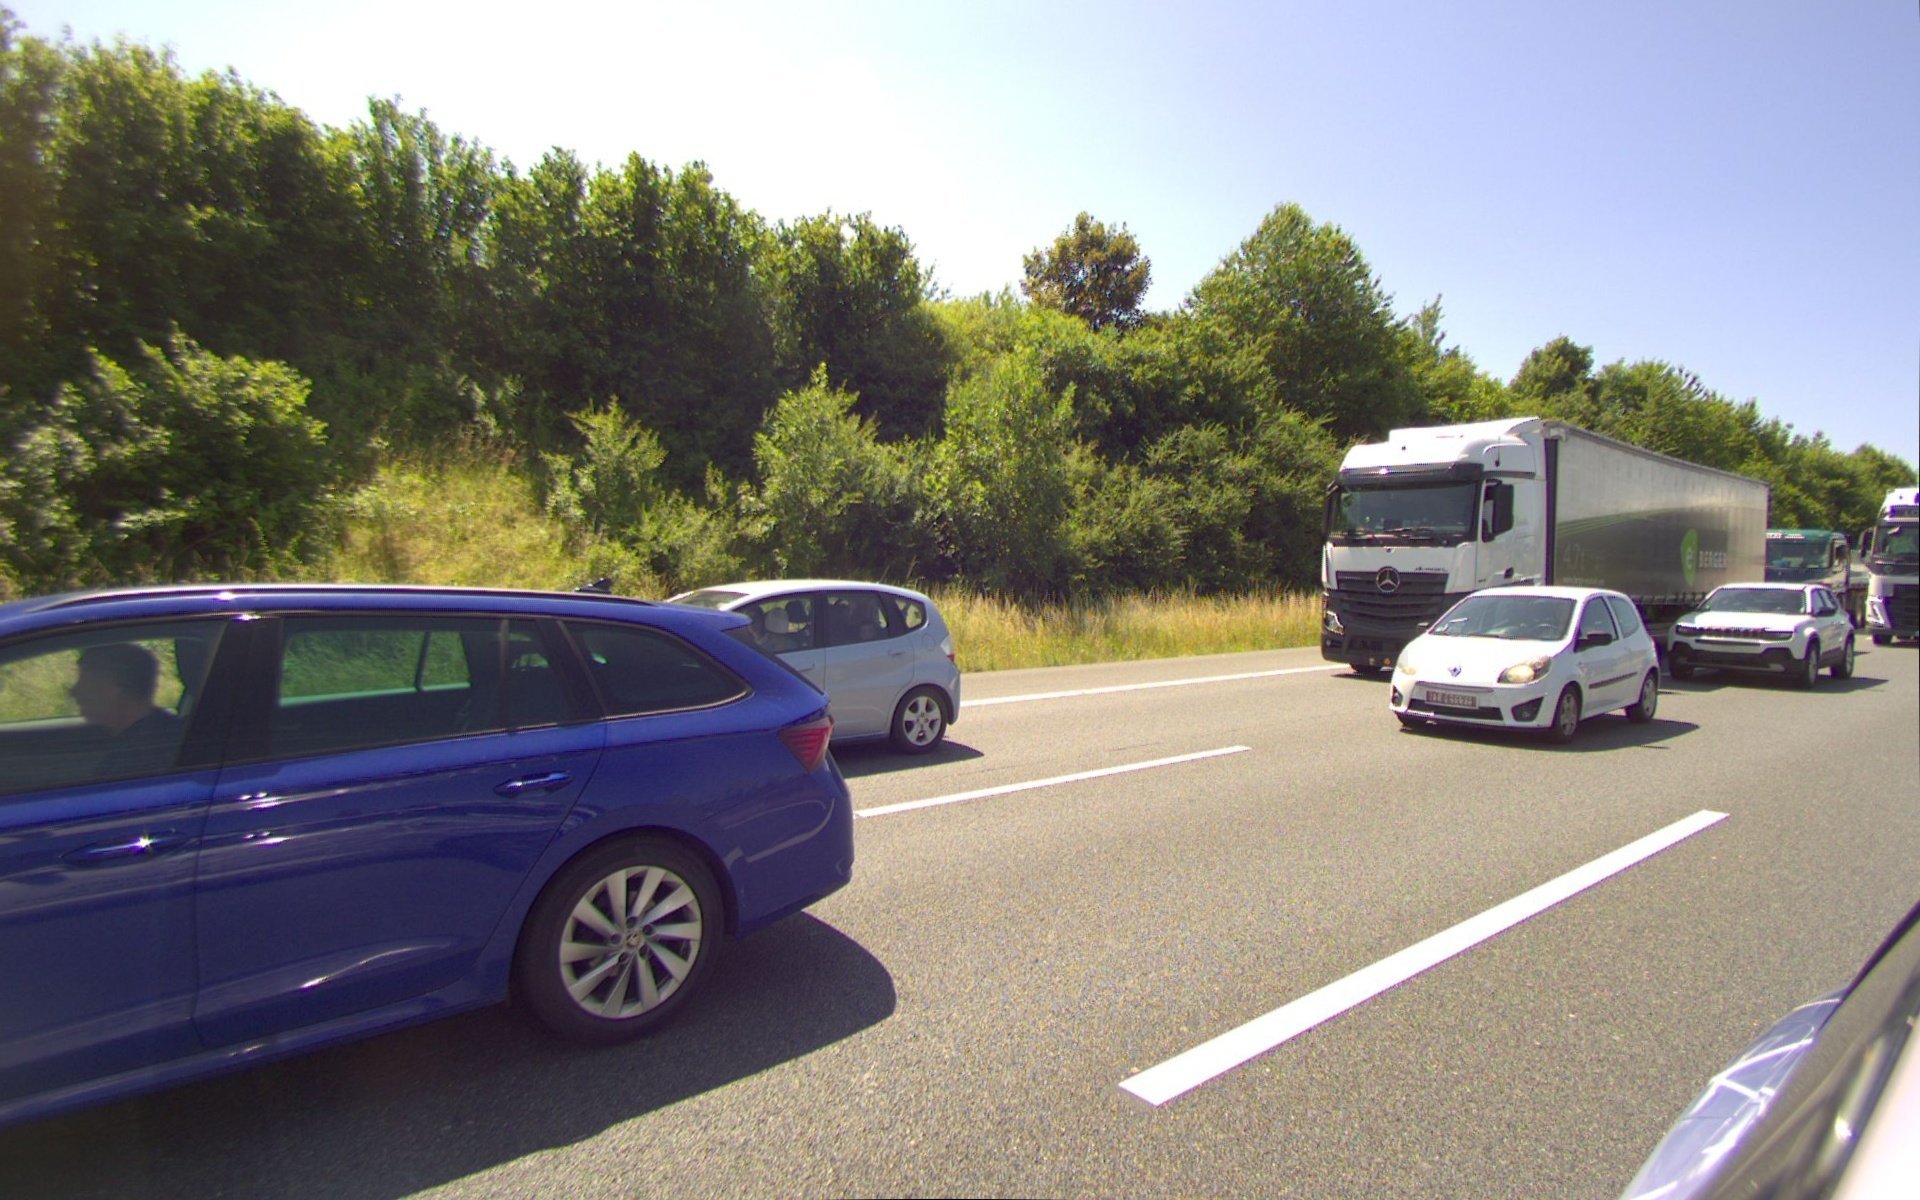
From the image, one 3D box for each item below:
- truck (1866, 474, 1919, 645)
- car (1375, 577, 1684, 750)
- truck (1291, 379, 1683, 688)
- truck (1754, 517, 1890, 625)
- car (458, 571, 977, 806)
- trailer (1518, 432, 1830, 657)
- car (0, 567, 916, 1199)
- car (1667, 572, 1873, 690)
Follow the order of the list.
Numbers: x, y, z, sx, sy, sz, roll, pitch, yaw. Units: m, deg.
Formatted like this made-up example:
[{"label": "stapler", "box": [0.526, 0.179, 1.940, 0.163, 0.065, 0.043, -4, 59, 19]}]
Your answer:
[{"label": "truck", "box": [26.271, -1.024, 26.254, 8.209, 4.044, 2.750, -1, 1, -38]}, {"label": "car", "box": [6.116, 0.519, 10.724, 3.742, 1.451, 1.609, -2, 3, -40]}, {"label": "truck", "box": [9.410, -1.003, 17.544, 8.321, 4.208, 2.880, -1, 1, -38]}, {"label": "truck", "box": [27.773, -0.934, 32.542, 5.572, 3.185, 2.300, -1, 1, -38]}, {"label": "car", "box": [-1.861, 0.526, 8.388, 3.853, 1.479, 1.666, -1, 3, -40]}, {"label": "trailer", "box": [17.224, -1.168, 23.849, 11.859, 4.208, 2.880, -1, 1, -39]}, {"label": "car", "box": [-2.472, 0.634, 3.165, 4.490, 1.434, 1.781, -2, 3, -38]}, {"label": "car", "box": [12.871, 0.381, 16.020, 3.815, 1.577, 1.748, -2, 3, -39]}]
